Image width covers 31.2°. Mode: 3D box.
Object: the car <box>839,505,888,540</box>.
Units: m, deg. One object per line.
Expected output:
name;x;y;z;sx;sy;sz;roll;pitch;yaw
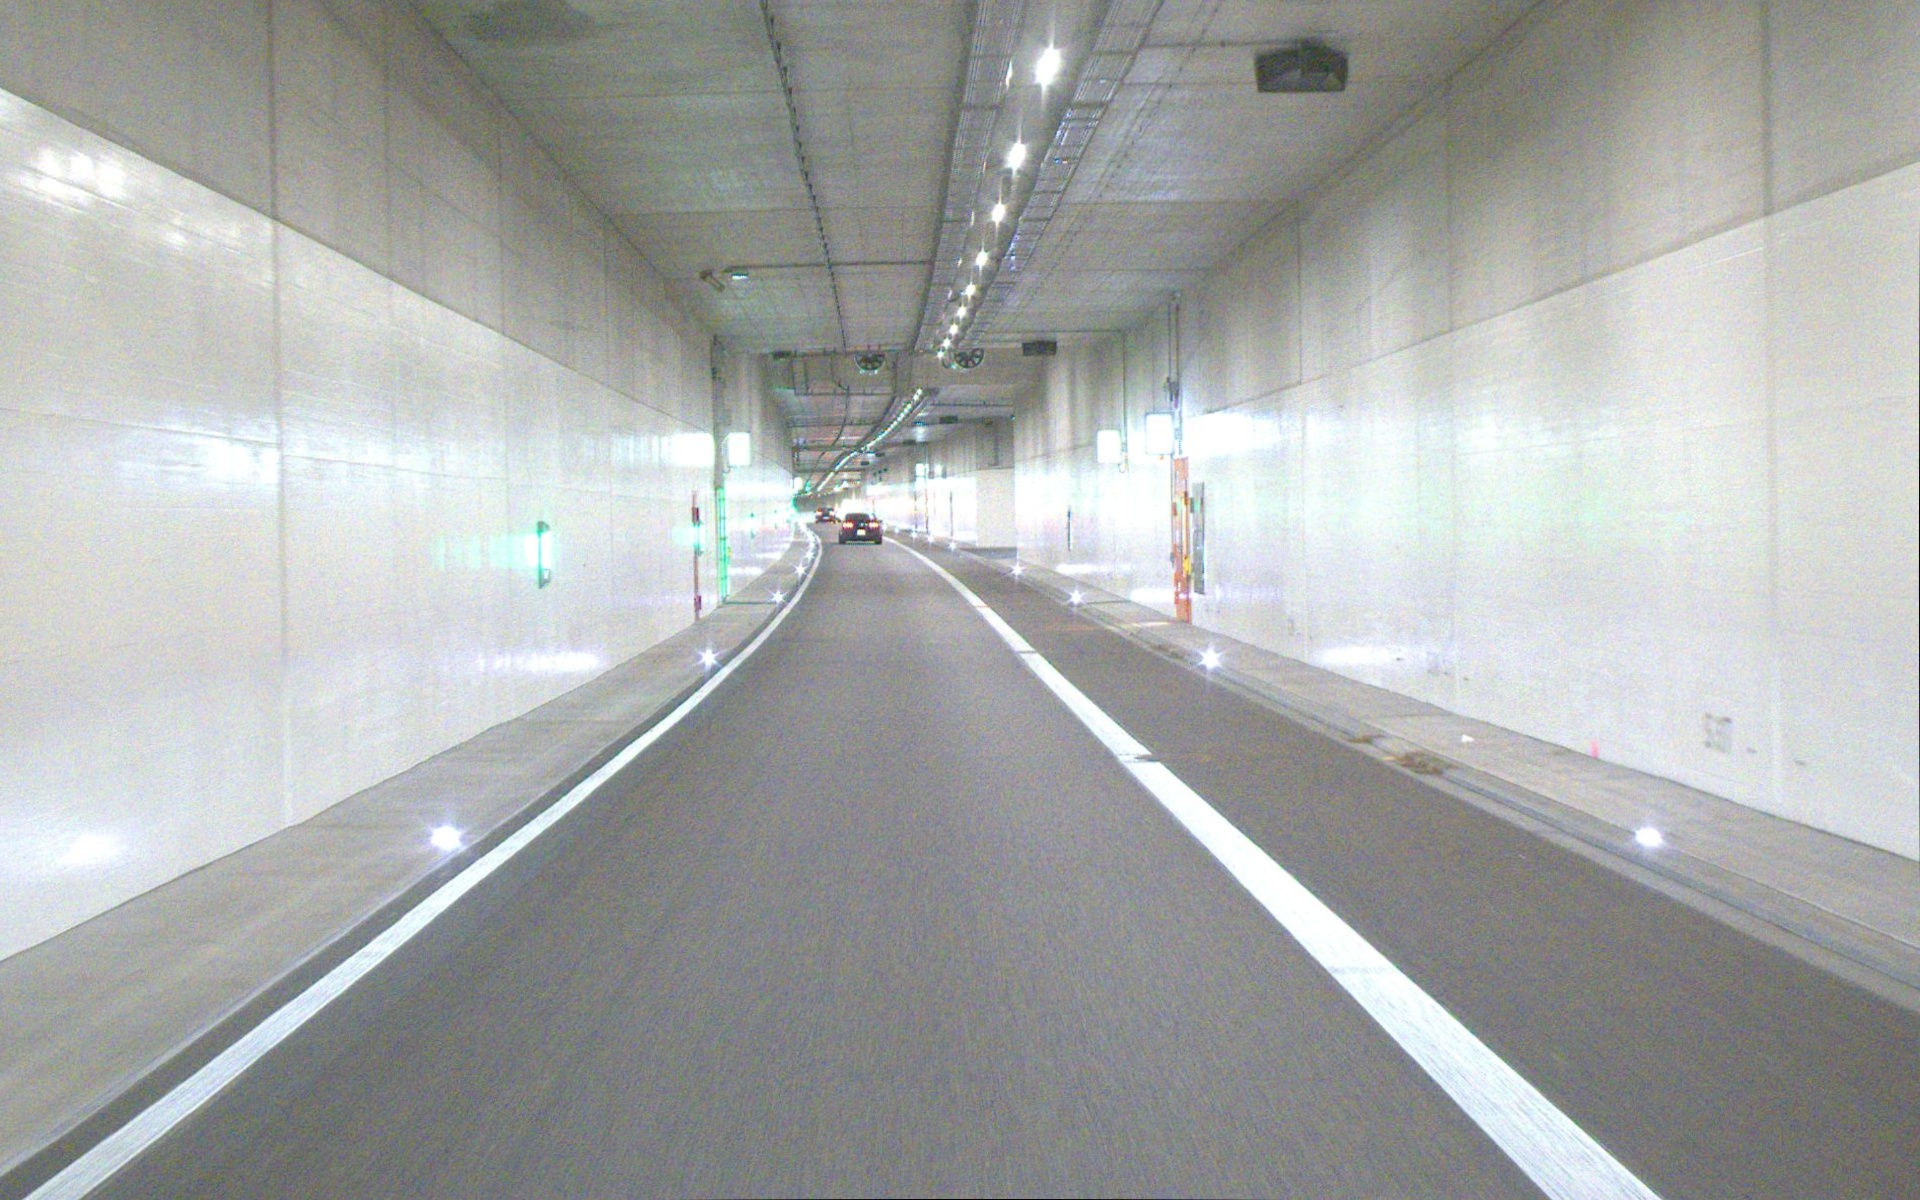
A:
car;-4.266;-3.411;151.326;1.993;1.415;4.001;-3;2;-3
